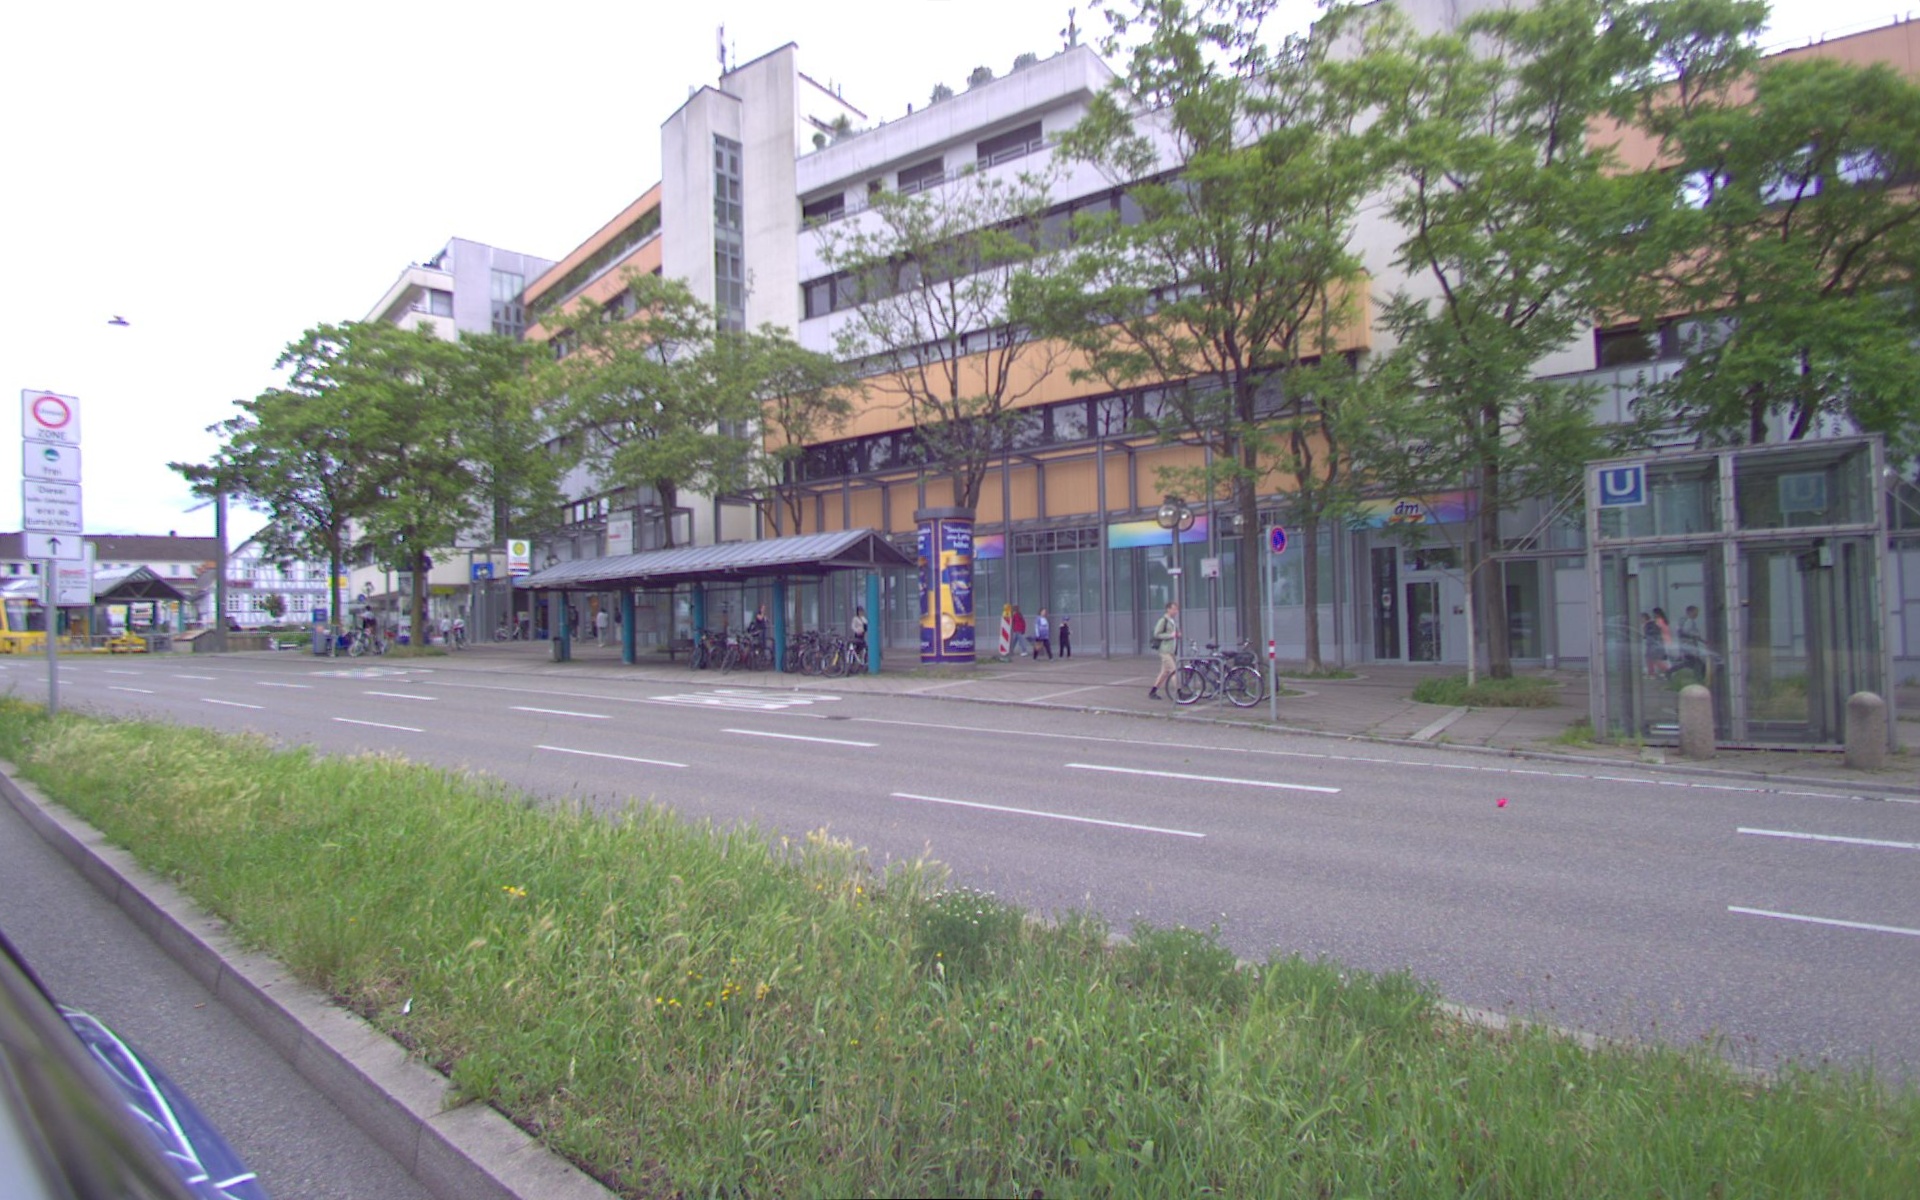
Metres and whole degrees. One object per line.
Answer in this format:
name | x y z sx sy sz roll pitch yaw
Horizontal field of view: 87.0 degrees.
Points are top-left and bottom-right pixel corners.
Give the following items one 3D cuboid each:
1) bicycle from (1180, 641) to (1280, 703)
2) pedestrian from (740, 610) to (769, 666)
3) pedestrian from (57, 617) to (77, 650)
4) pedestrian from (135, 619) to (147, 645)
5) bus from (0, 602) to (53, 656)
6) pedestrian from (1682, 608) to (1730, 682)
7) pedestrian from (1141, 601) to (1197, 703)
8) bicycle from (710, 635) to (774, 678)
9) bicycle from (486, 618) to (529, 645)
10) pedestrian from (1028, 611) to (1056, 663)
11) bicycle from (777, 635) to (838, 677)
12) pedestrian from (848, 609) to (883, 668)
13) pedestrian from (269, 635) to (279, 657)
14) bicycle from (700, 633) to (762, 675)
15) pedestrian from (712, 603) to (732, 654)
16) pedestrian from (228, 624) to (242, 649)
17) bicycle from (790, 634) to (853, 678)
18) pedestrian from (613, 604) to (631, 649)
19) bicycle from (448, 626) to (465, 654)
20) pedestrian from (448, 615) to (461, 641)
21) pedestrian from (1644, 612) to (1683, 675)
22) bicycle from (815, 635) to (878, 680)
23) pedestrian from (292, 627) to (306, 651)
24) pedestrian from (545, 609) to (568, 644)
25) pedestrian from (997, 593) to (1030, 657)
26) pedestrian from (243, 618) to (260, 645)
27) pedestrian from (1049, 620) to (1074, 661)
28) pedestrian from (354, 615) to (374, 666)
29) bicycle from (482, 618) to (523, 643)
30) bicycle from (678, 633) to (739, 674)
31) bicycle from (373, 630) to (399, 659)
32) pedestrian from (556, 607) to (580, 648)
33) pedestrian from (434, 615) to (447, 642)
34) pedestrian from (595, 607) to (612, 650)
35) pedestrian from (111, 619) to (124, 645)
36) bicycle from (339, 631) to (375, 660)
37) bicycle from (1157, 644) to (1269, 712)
bicycle | 4.984 1.308 18.788 1.737 1.074 0.542 -2 -1 45
pedestrian | -6.735 1.238 33.144 0.769 1.800 0.525 -1 -2 33
pedestrian | -54.305 2.031 61.556 0.663 2.029 0.632 -1 -2 21
pedestrian | -64.634 2.527 79.902 0.731 2.029 0.940 1 -2 -39
bus | -55.978 1.677 58.619 8.470 3.006 2.530 -1 -2 29
pedestrian | 15.267 0.907 20.723 0.754 1.491 0.524 -1 -2 36
pedestrian | 3.872 0.943 18.734 0.916 1.846 0.533 -1 -2 25
bicycle | -5.959 1.525 27.721 0.549 1.048 1.714 -2 1 38
bicycle | -24.945 1.719 55.789 2.107 1.385 0.621 -1 0 -31
pedestrian | 2.381 1.073 29.478 0.620 1.515 0.563 -1 -2 31
bicycle | -4.137 1.510 27.559 0.549 1.048 1.714 -2 -1 38
pedestrian | -2.737 1.108 29.278 0.721 1.662 0.669 -1 -1 37
pedestrian | -37.284 2.473 55.003 0.368 1.188 0.338 -1 -2 31
bicycle | -6.454 1.507 28.583 0.549 1.048 1.714 -2 1 38
pedestrian | -9.709 1.159 41.246 0.558 2.029 0.611 1 -2 -44
pedestrian | -46.548 2.329 64.969 0.581 1.554 0.570 -1 -2 32
bicycle | -3.613 1.453 26.592 0.549 1.048 1.714 -2 0 38
pedestrian | -15.185 1.192 45.492 0.558 2.029 0.611 1 -2 -44
bicycle | -21.349 1.702 42.930 0.584 1.134 2.044 1 -1 -26
pedestrian | -28.659 1.587 57.409 0.548 1.506 0.454 1 -2 -41
pedestrian | 15.791 0.967 22.723 0.694 1.385 0.578 -1 -2 34
bicycle | -2.903 1.469 26.059 0.549 1.048 1.714 -2 0 38
pedestrian | -41.806 2.456 64.013 0.581 1.554 0.570 -1 -2 32
pedestrian | -19.600 1.293 49.136 0.752 1.695 0.755 -1 -2 41
pedestrian | 1.715 0.788 32.285 0.791 2.029 0.703 -1 0 31
pedestrian | -52.775 2.354 75.418 0.867 2.029 1.010 1 -2 -44
pedestrian | 3.018 1.198 29.976 0.620 1.190 0.418 -1 -2 31
pedestrian | -27.375 1.860 46.467 0.608 2.325 0.583 -1 -2 39
bicycle | -26.093 1.730 57.767 2.106 1.377 0.621 -1 0 -24
bicycle | -7.232 1.530 29.148 0.549 1.048 1.714 -2 0 38
bicycle | -22.745 1.748 40.110 0.584 1.085 2.044 0 -1 -21
pedestrian | -18.273 1.277 47.201 0.752 1.859 0.755 -1 -2 41
pedestrian | -29.313 1.597 57.123 0.548 1.506 0.454 1 -2 -41
pedestrian | -15.471 1.237 43.906 0.639 1.823 0.761 0 -2 -16
pedestrian | -66.080 2.538 79.405 0.731 2.029 0.940 1 -2 -39
bicycle | -23.612 1.760 39.652 0.585 1.085 2.042 0 -1 -12
bicycle | 4.368 1.320 17.597 0.802 1.068 1.739 0 -1 -40
